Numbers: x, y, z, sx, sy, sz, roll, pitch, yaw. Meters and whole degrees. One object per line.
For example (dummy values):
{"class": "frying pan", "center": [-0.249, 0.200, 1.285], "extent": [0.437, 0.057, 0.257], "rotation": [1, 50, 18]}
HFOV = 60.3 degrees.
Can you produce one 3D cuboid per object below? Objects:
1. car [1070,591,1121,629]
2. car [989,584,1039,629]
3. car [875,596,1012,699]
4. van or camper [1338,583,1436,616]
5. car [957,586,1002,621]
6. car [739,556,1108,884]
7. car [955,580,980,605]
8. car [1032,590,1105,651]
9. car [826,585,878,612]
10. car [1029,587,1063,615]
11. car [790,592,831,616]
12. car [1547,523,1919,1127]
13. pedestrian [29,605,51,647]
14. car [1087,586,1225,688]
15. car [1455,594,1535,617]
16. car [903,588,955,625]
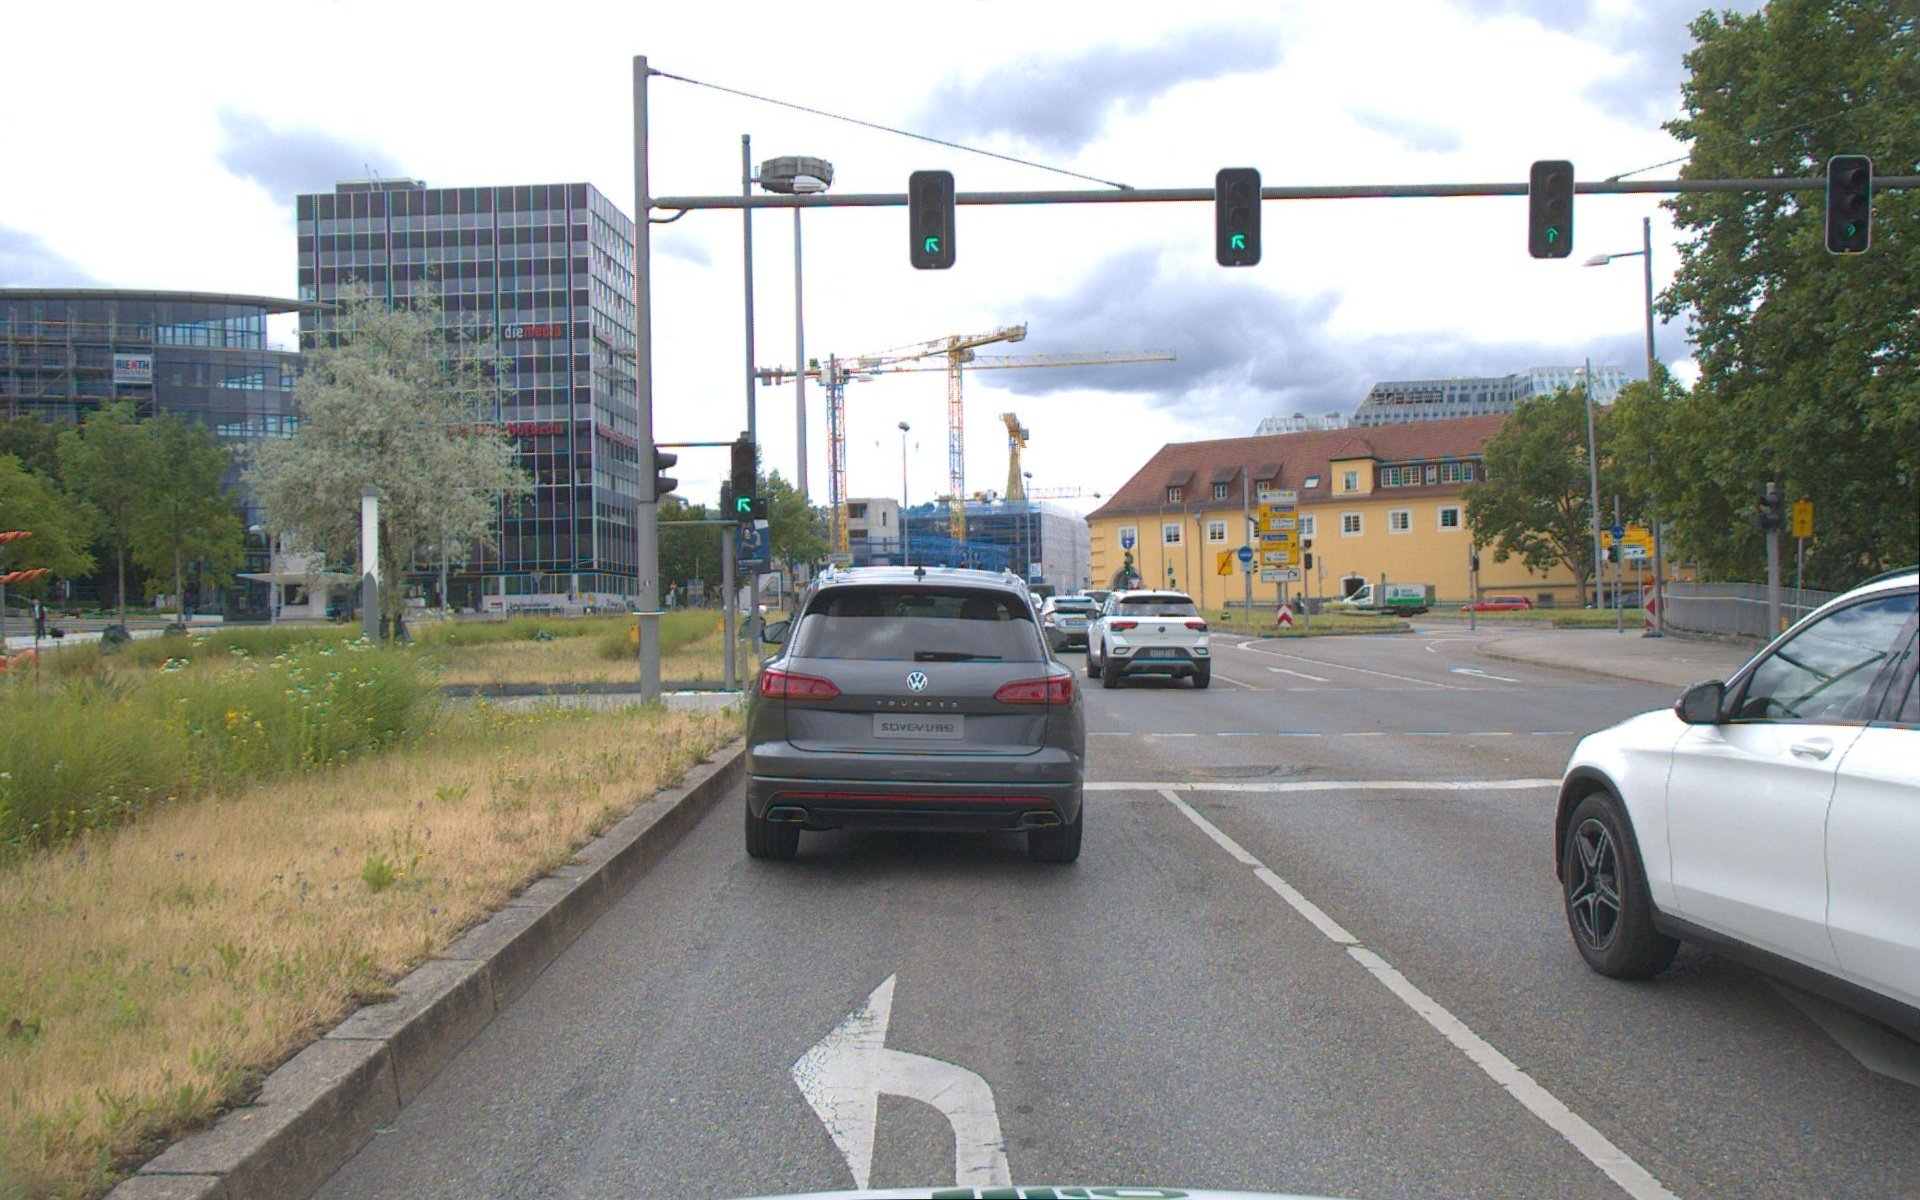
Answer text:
{"class": "car", "center": [5.521, 0.386, 67.634], "extent": [1.766, 1.529, 3.981], "rotation": [0, 0, 0]}
{"class": "car", "center": [1.909, 0.194, 58.332], "extent": [1.683, 1.529, 3.982], "rotation": [0, 0, 2]}
{"class": "car", "center": [-0.278, 0.681, 25.718], "extent": [1.953, 1.411, 3.999], "rotation": [-1, 1, -1]}
{"class": "van or camper", "center": [27.740, -0.023, 107.537], "extent": [5.902, 2.049, 2.013], "rotation": [-1, 0, 35]}
{"class": "car", "center": [0.890, 0.137, 77.054], "extent": [1.778, 1.522, 3.904], "rotation": [-2, 1, -3]}
{"class": "car", "center": [-0.220, 0.598, 10.497], "extent": [1.893, 1.676, 3.999], "rotation": [0, 0, -1]}
{"class": "car", "center": [0.564, -0.618, 135.996], "extent": [1.953, 2.049, 3.999], "rotation": [0, 0, -1]}
{"class": "car", "center": [2.810, 0.498, 43.523], "extent": [1.683, 1.529, 4.144], "rotation": [0, 0, 0]}
{"class": "car", "center": [-6.339, -0.087, 96.599], "extent": [2.207, 1.529, 4.593], "rotation": [0, 0, -15]}
{"class": "car", "center": [4.775, 0.044, 92.391], "extent": [1.683, 1.529, 3.981], "rotation": [0, 0, 0]}
{"class": "car", "center": [-9.693, 0.239, 107.182], "extent": [1.694, 1.529, 3.957], "rotation": [0, 0, -20]}
{"class": "car", "center": [3.534, 0.616, 5.117], "extent": [1.782, 1.676, 4.377], "rotation": [0, 0, -2]}
{"class": "pedestrian", "center": [-36.855, 1.054, 66.246], "extent": [0.513, 1.678, 0.650], "rotation": [0, 0, -2]}
{"class": "car", "center": [3.257, 0.564, 28.126], "extent": [1.855, 1.613, 3.800], "rotation": [0, 0, -1]}
{"class": "car", "center": [33.527, 0.346, 103.687], "extent": [4.592, 1.445, 1.593], "rotation": [-1, 0, 31]}
{"class": "car", "center": [-1.378, 0.261, 71.448], "extent": [1.780, 1.522, 3.899], "rotation": [0, 0, -8]}
